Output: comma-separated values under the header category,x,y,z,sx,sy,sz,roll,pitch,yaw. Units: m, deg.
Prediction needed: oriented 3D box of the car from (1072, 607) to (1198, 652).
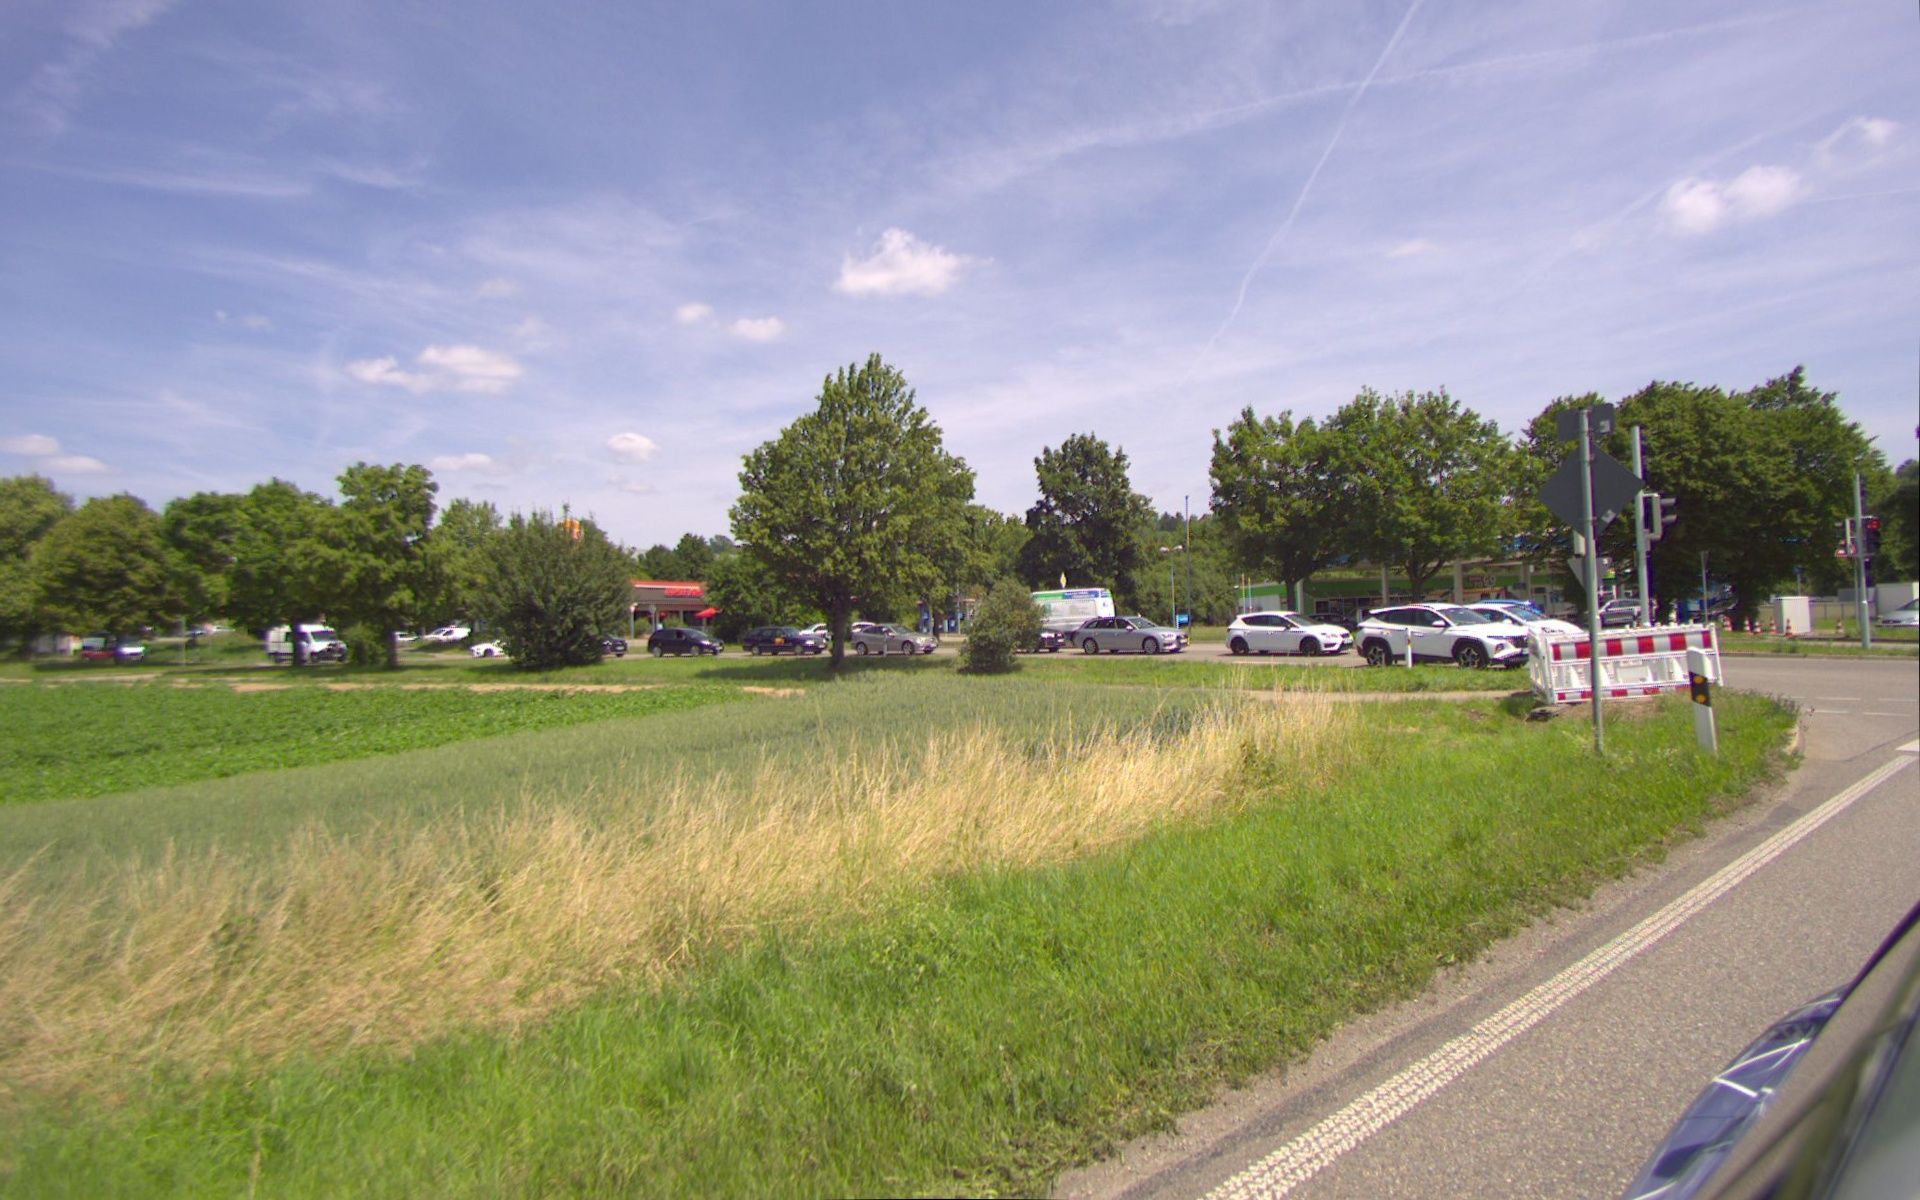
category,x,y,z,sx,sy,sz,roll,pitch,yaw
car,6.622,1.142,38.642,1.772,1.529,4.548,-2,-1,-44

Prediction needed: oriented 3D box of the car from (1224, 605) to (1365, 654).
category,x,y,z,sx,sy,sz,roll,pitch,yaw
car,10.977,0.950,33.415,1.770,1.437,4.098,-2,1,-41

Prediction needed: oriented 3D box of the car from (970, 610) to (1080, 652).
category,x,y,z,sx,sy,sz,roll,pitch,yaw
car,2.705,1.342,42.964,4.544,1.529,1.773,-4,-1,43

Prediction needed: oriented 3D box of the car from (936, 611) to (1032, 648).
category,x,y,z,sx,sy,sz,roll,pitch,yaw
car,1.193,1.480,51.191,4.482,1.713,1.850,-2,0,27

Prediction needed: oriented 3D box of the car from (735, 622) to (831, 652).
category,x,y,z,sx,sy,sz,roll,pitch,yaw
car,-8.745,1.844,49.988,4.516,1.289,1.784,-3,0,27

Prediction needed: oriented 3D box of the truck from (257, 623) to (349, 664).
category,x,y,z,sx,sy,sz,roll,pitch,yaw
truck,-42.358,2.817,65.218,5.569,2.396,2.040,-2,0,21

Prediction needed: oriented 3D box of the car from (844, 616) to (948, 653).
category,x,y,z,sx,sy,sz,roll,pitch,yaw
car,-2.948,1.590,46.058,4.527,1.529,1.780,-3,0,33

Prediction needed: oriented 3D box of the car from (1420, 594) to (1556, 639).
category,x,y,z,sx,sy,sz,roll,pitch,yaw
car,20.204,0.645,38.921,4.329,1.579,1.774,-2,-1,18

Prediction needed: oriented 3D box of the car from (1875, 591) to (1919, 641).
category,x,y,z,sx,sy,sz,roll,pitch,yaw
car,35.575,0.547,35.877,4.442,1.713,1.866,-1,0,2

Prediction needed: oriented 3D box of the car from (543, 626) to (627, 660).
category,x,y,z,sx,sy,sz,roll,pitch,yaw
car,-20.841,2.409,56.231,4.249,1.719,1.982,-2,0,27

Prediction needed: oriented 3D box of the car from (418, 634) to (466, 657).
category,x,y,z,sx,sy,sz,roll,pitch,yaw
car,-44.982,3.922,87.843,3.963,1.847,1.805,-2,0,29

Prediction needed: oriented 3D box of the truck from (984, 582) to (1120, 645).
category,x,y,z,sx,sy,sz,roll,pitch,yaw
truck,4.209,0.621,46.741,5.883,2.771,2.055,-1,0,27

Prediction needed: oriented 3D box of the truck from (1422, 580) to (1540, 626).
category,x,y,z,sx,sy,sz,roll,pitch,yaw
truck,32.265,0.183,62.805,6.029,2.652,2.263,-2,-1,-2

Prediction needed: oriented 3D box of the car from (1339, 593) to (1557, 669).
category,x,y,z,sx,sy,sz,roll,pitch,yaw
car,12.176,0.775,25.603,1.959,1.627,4.645,-3,0,-28

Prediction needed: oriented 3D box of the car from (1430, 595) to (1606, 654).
category,x,y,z,sx,sy,sz,roll,pitch,yaw
car,15.474,0.643,28.293,1.790,1.437,3.979,-2,0,-24

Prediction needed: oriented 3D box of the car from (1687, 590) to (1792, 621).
category,x,y,z,sx,sy,sz,roll,pitch,yaw
car,45.463,0.297,59.088,4.541,1.642,2.000,-2,0,-1

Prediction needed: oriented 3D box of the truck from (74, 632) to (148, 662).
category,x,y,z,sx,sy,sz,roll,pitch,yaw
truck,-62.509,3.479,74.484,5.409,2.000,1.788,-3,0,22

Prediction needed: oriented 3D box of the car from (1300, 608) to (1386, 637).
category,x,y,z,sx,sy,sz,roll,pitch,yaw
car,21.489,1.253,56.914,4.254,1.380,1.753,-2,0,12

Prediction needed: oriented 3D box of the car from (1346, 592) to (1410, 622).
category,x,y,z,sx,sy,sz,roll,pitch,yaw
car,29.653,0.474,71.776,3.784,2.039,1.714,-1,0,-7

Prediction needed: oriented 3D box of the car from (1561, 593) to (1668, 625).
category,x,y,z,sx,sy,sz,roll,pitch,yaw
car,37.974,0.520,58.776,4.845,1.623,2.040,-2,0,-1

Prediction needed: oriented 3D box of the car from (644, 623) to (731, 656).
category,x,y,z,sx,sy,sz,roll,pitch,yaw
car,-14.238,2.067,52.852,4.186,1.529,1.786,-3,0,25

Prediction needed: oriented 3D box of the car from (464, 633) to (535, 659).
category,x,y,z,sx,sy,sz,roll,pitch,yaw
car,-33.741,3.362,74.211,4.424,1.579,1.873,-2,0,-41
